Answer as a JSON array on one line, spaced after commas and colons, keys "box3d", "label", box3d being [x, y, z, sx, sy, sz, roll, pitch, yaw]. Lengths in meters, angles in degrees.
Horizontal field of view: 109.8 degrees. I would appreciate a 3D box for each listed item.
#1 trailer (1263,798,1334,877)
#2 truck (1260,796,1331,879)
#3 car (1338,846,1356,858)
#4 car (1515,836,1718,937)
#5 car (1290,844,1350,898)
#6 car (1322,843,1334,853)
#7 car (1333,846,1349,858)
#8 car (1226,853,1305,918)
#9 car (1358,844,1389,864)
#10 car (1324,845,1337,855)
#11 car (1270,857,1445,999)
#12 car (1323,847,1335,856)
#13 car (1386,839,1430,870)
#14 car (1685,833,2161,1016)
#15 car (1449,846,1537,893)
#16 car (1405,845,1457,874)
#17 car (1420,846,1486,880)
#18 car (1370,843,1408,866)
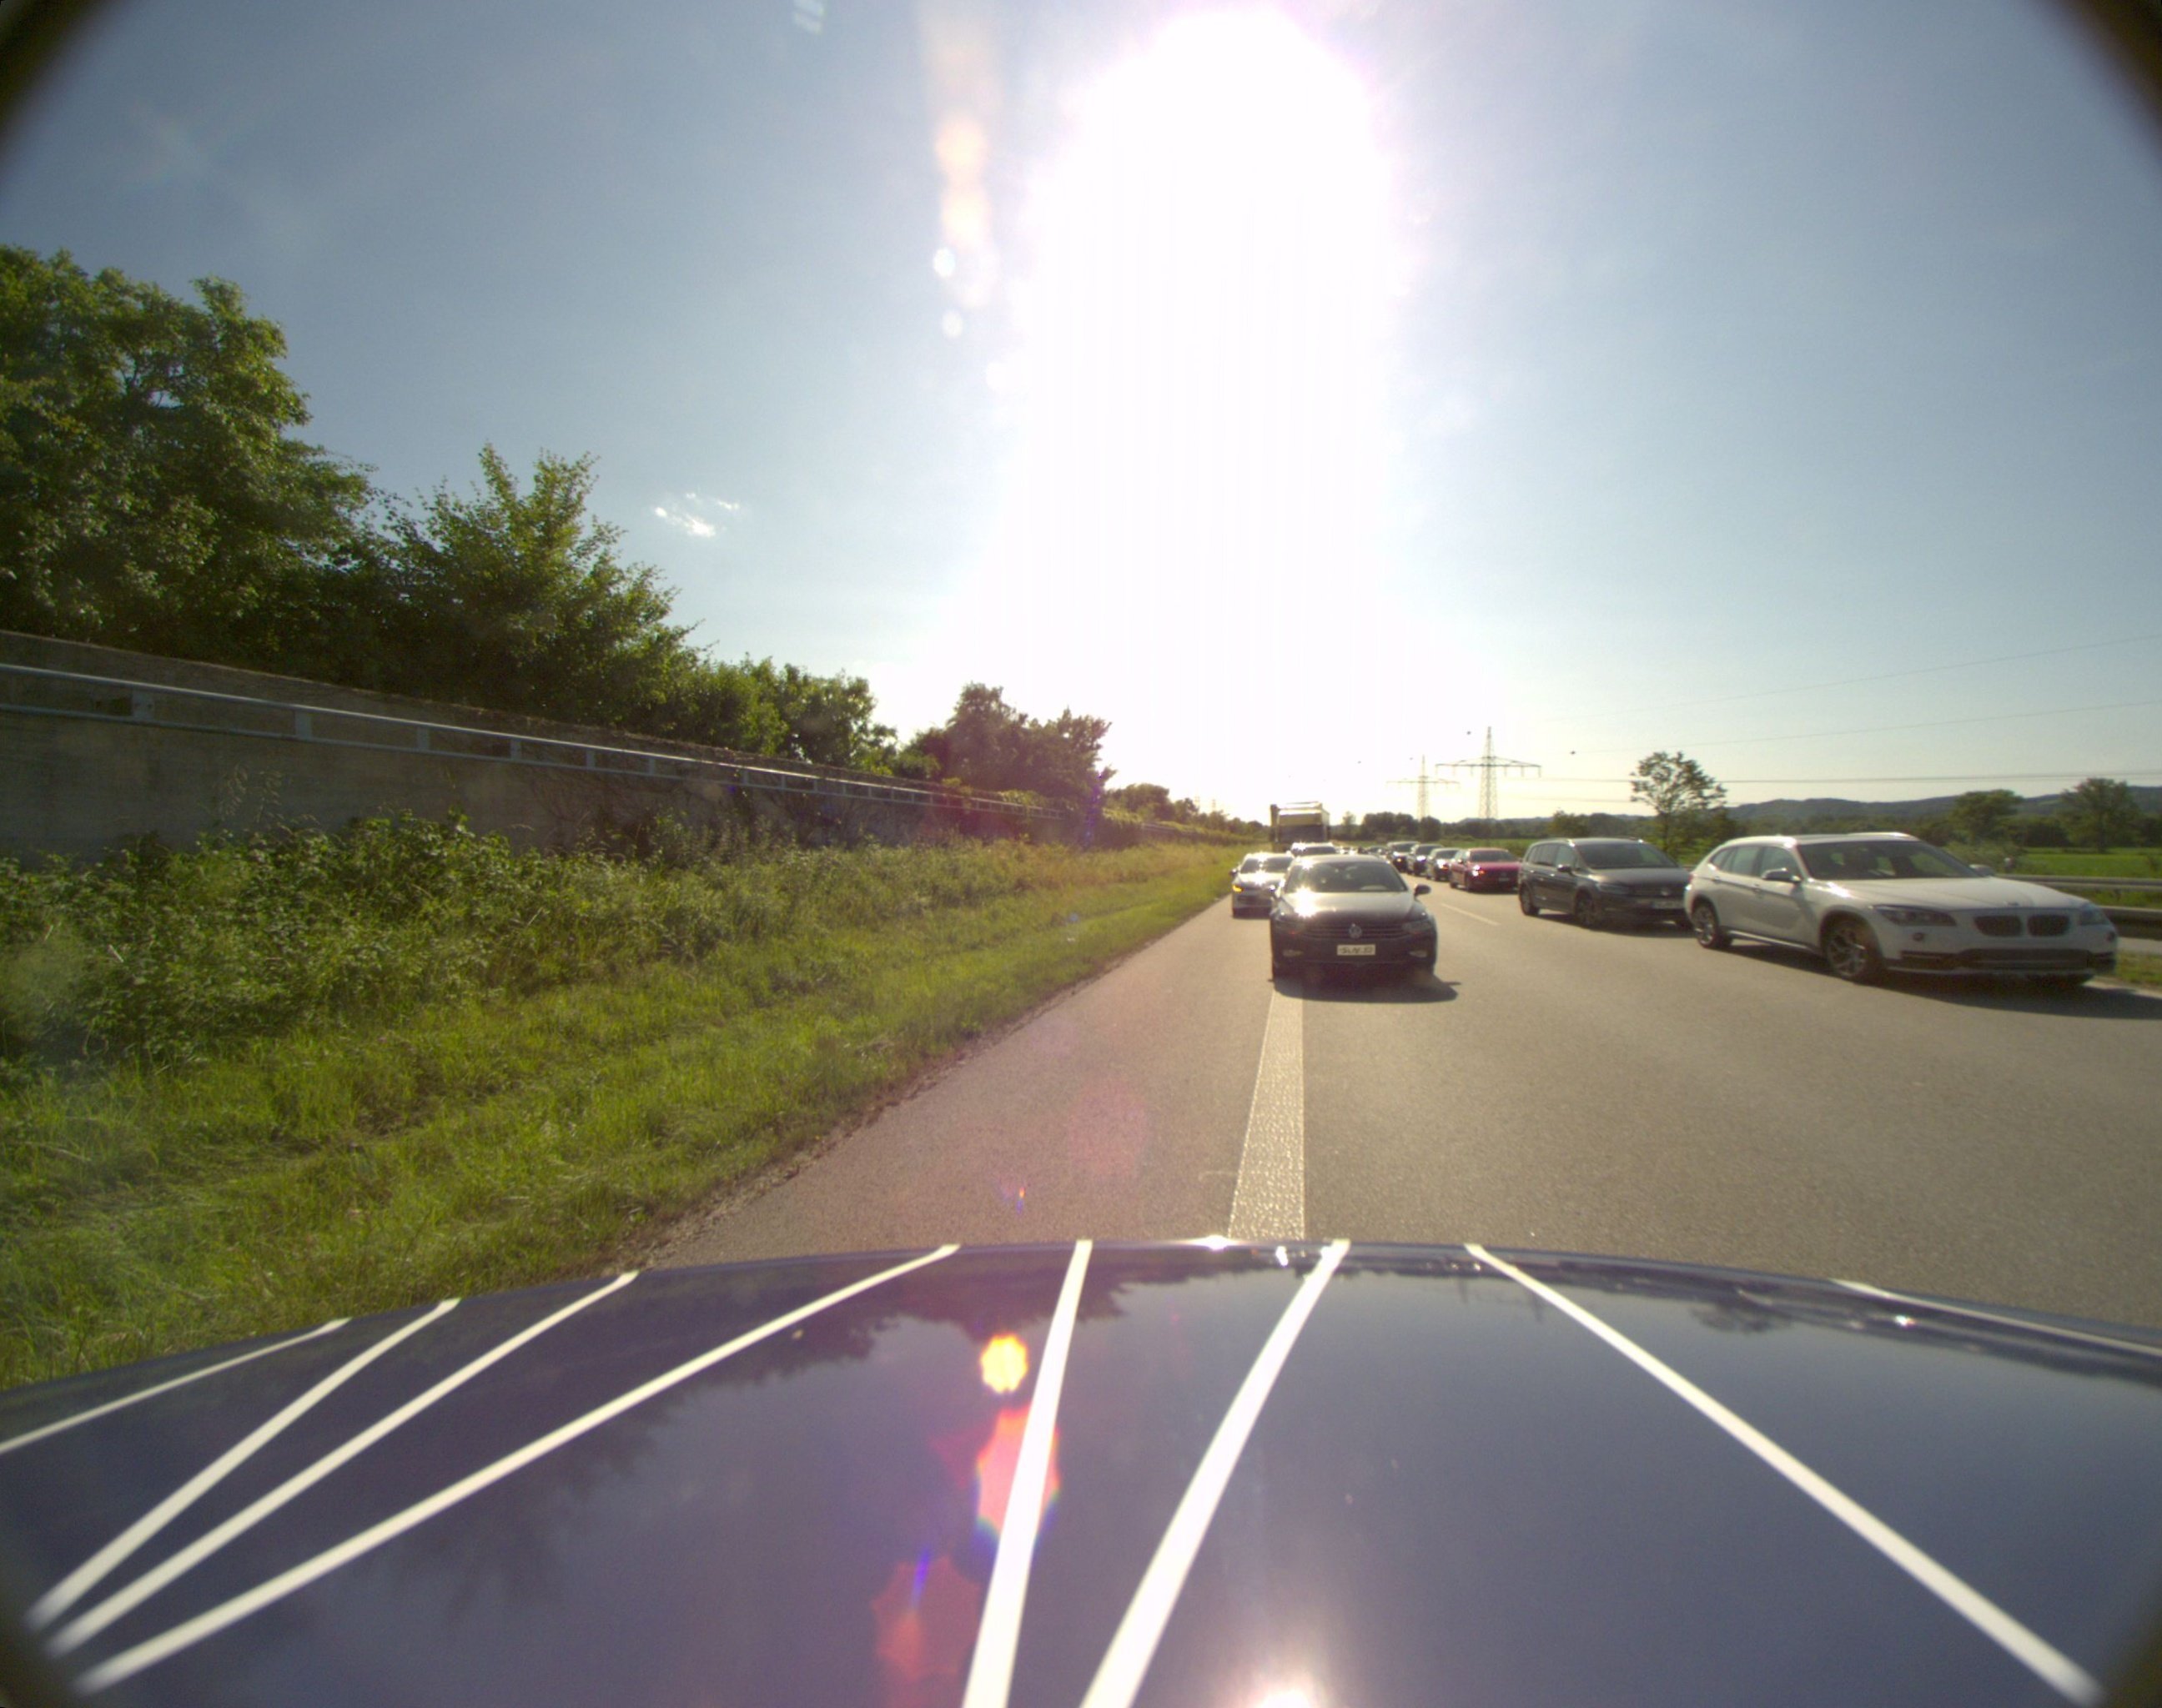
[{"box3d": [13.867, -1.015, 47.419, 3.383, 4.089, 13.969, -2, 1, 19], "label": "trailer"}, {"box3d": [11.855, -0.880, 41.643, 3.329, 4.089, 6.978, -2, 1, 17], "label": "truck"}, {"box3d": [32.195, -0.255, 92.058, 1.817, 1.450, 4.122, 0, 1, 16], "label": "car"}, {"box3d": [9.869, 0.523, 14.419, 1.818, 1.607, 4.121, -2, 0, 15], "label": "car"}, {"box3d": [7.877, 0.511, 25.262, 1.715, 1.614, 4.330, -2, 0, 16], "label": "car"}, {"box3d": [43.611, -1.060, 134.372, 1.811, 1.783, 3.777, 0, 1, 15], "label": "car"}, {"box3d": [34.273, -0.282, 100.236, 1.817, 1.450, 4.122, -2, 0, 15], "label": "car"}, {"box3d": [4.777, 0.732, 19.410, 1.715, 1.417, 4.330, -2, 0, 16], "label": "car"}, {"box3d": [23.940, -0.026, 62.361, 1.996, 1.522, 4.004, 0, 1, 15], "label": "car"}, {"box3d": [39.398, -0.603, 119.978, 1.817, 1.450, 4.122, -2, 0, 17], "label": "car"}, {"box3d": [3.493, 0.796, 10.136, 1.715, 1.405, 4.330, -2, 0, 16], "label": "car"}, {"box3d": [40.909, -0.489, 125.427, 1.817, 1.450, 4.122, 0, 1, 17], "label": "car"}, {"box3d": [19.893, 0.015, 46.377, 1.899, 1.777, 4.204, 0, 1, 15], "label": "car"}, {"box3d": [9.027, 0.595, 8.724, 1.830, 1.565, 4.168, -1, 1, 16], "label": "car"}, {"box3d": [13.746, 0.464, 25.580, 1.817, 1.450, 4.122, 0, 1, 17], "label": "car"}, {"box3d": [18.217, 0.258, 39.708, 1.892, 1.447, 4.004, 0, 1, 16], "label": "car"}, {"box3d": [16.494, 0.362, 33.859, 1.893, 1.390, 4.004, 0, 1, 15], "label": "car"}, {"box3d": [21.591, -0.003, 53.357, 1.996, 1.522, 4.004, 0, 1, 15], "label": "car"}]
